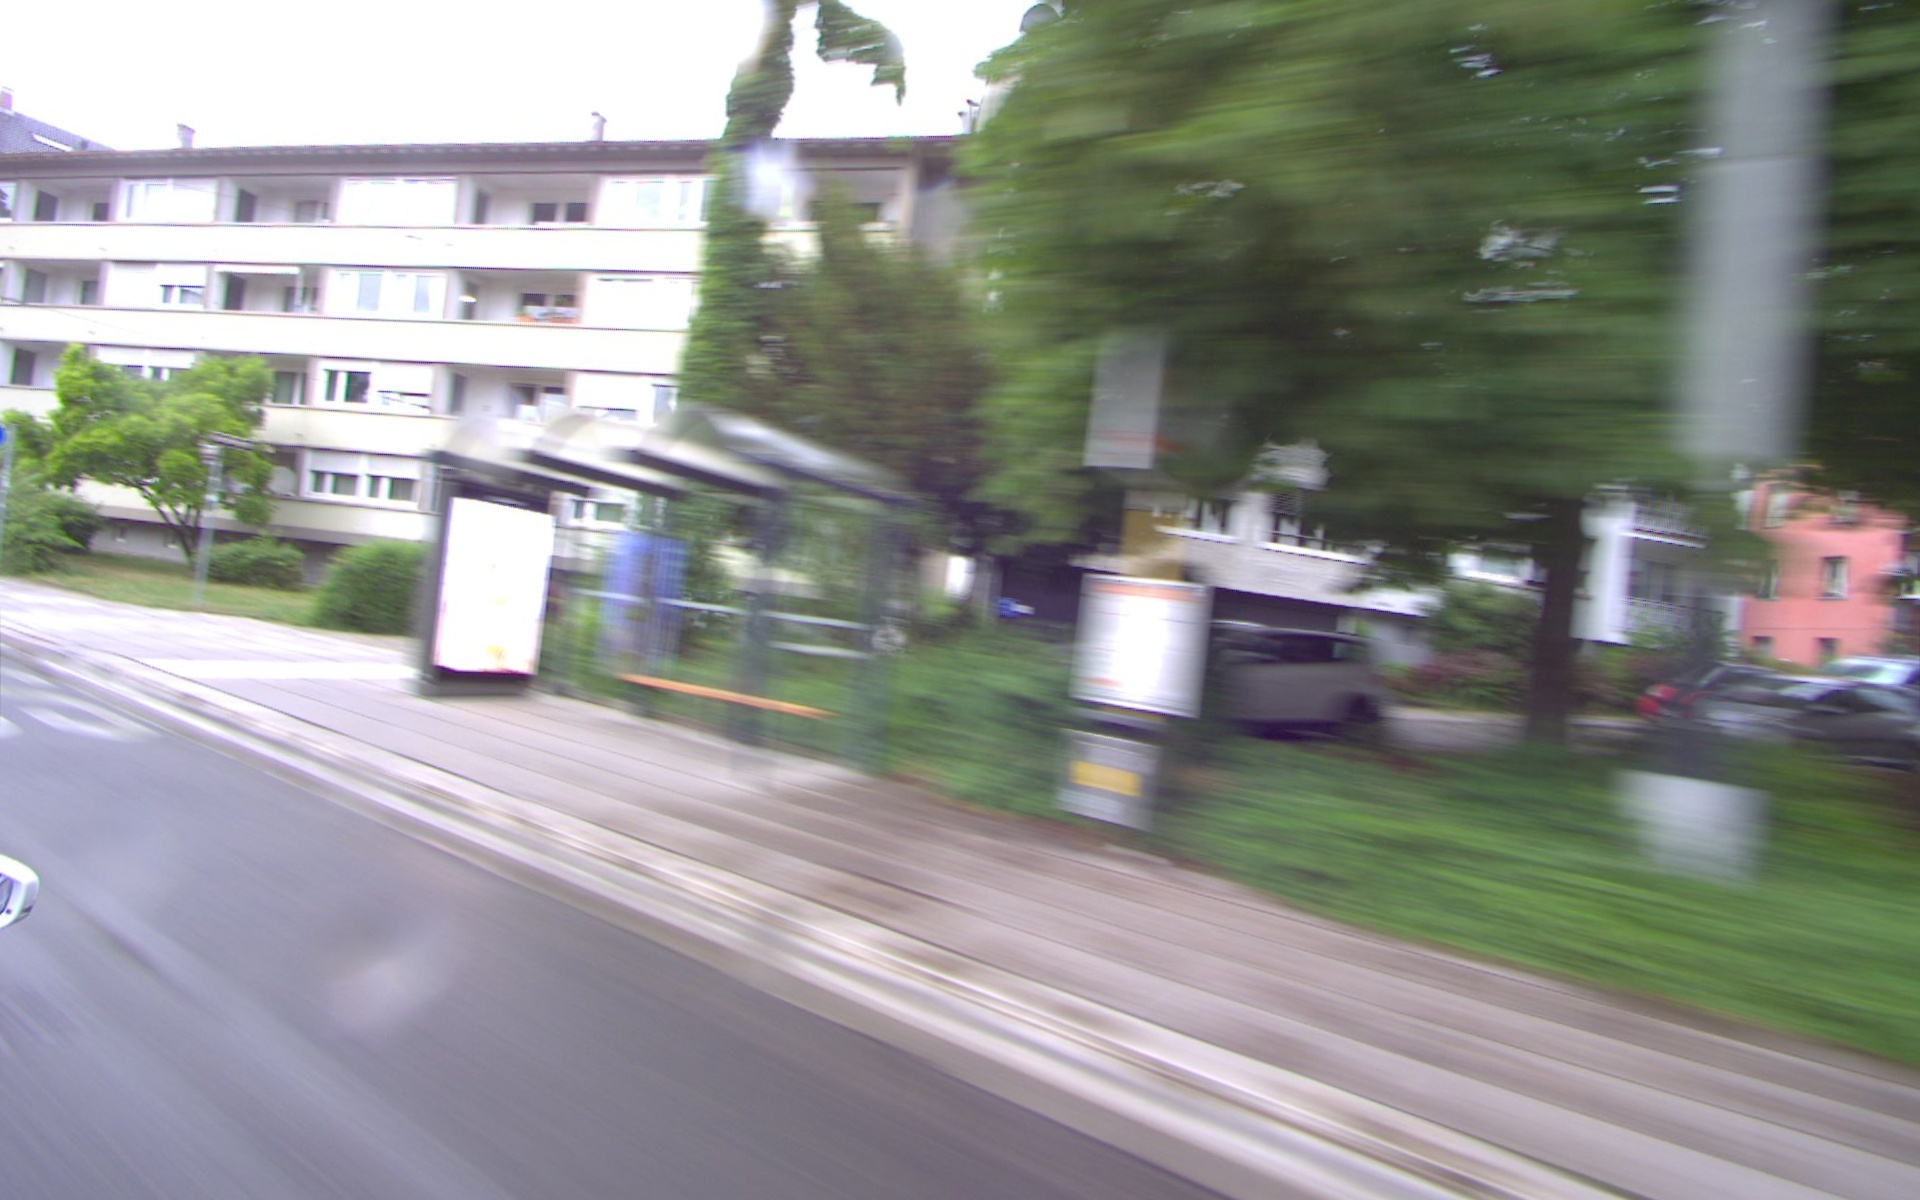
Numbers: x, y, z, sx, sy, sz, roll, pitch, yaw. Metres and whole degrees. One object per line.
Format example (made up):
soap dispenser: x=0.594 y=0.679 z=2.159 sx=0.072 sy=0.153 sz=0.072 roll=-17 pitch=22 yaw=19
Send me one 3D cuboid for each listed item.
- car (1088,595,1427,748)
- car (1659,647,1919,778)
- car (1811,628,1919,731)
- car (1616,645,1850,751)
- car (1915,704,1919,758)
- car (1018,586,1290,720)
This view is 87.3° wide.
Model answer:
car: x=4.263 y=1.030 z=14.491 sx=4.324 sy=1.576 sz=1.835 roll=8 pitch=-3 yaw=-20
car: x=13.552 y=1.803 z=15.940 sx=3.933 sy=1.581 sz=1.839 roll=8 pitch=-2 yaw=-13
car: x=21.819 y=1.885 z=22.721 sx=3.939 sy=1.999 sz=1.996 roll=8 pitch=-3 yaw=-15
car: x=16.816 y=2.116 z=21.927 sx=4.138 sy=1.714 sz=1.838 roll=8 pitch=-2 yaw=-16
car: x=18.453 y=2.213 z=16.842 sx=3.775 sy=1.461 sz=1.741 roll=8 pitch=-2 yaw=-13
car: x=3.337 y=0.929 z=17.549 sx=4.136 sy=1.714 sz=1.839 roll=8 pitch=-2 yaw=-13
